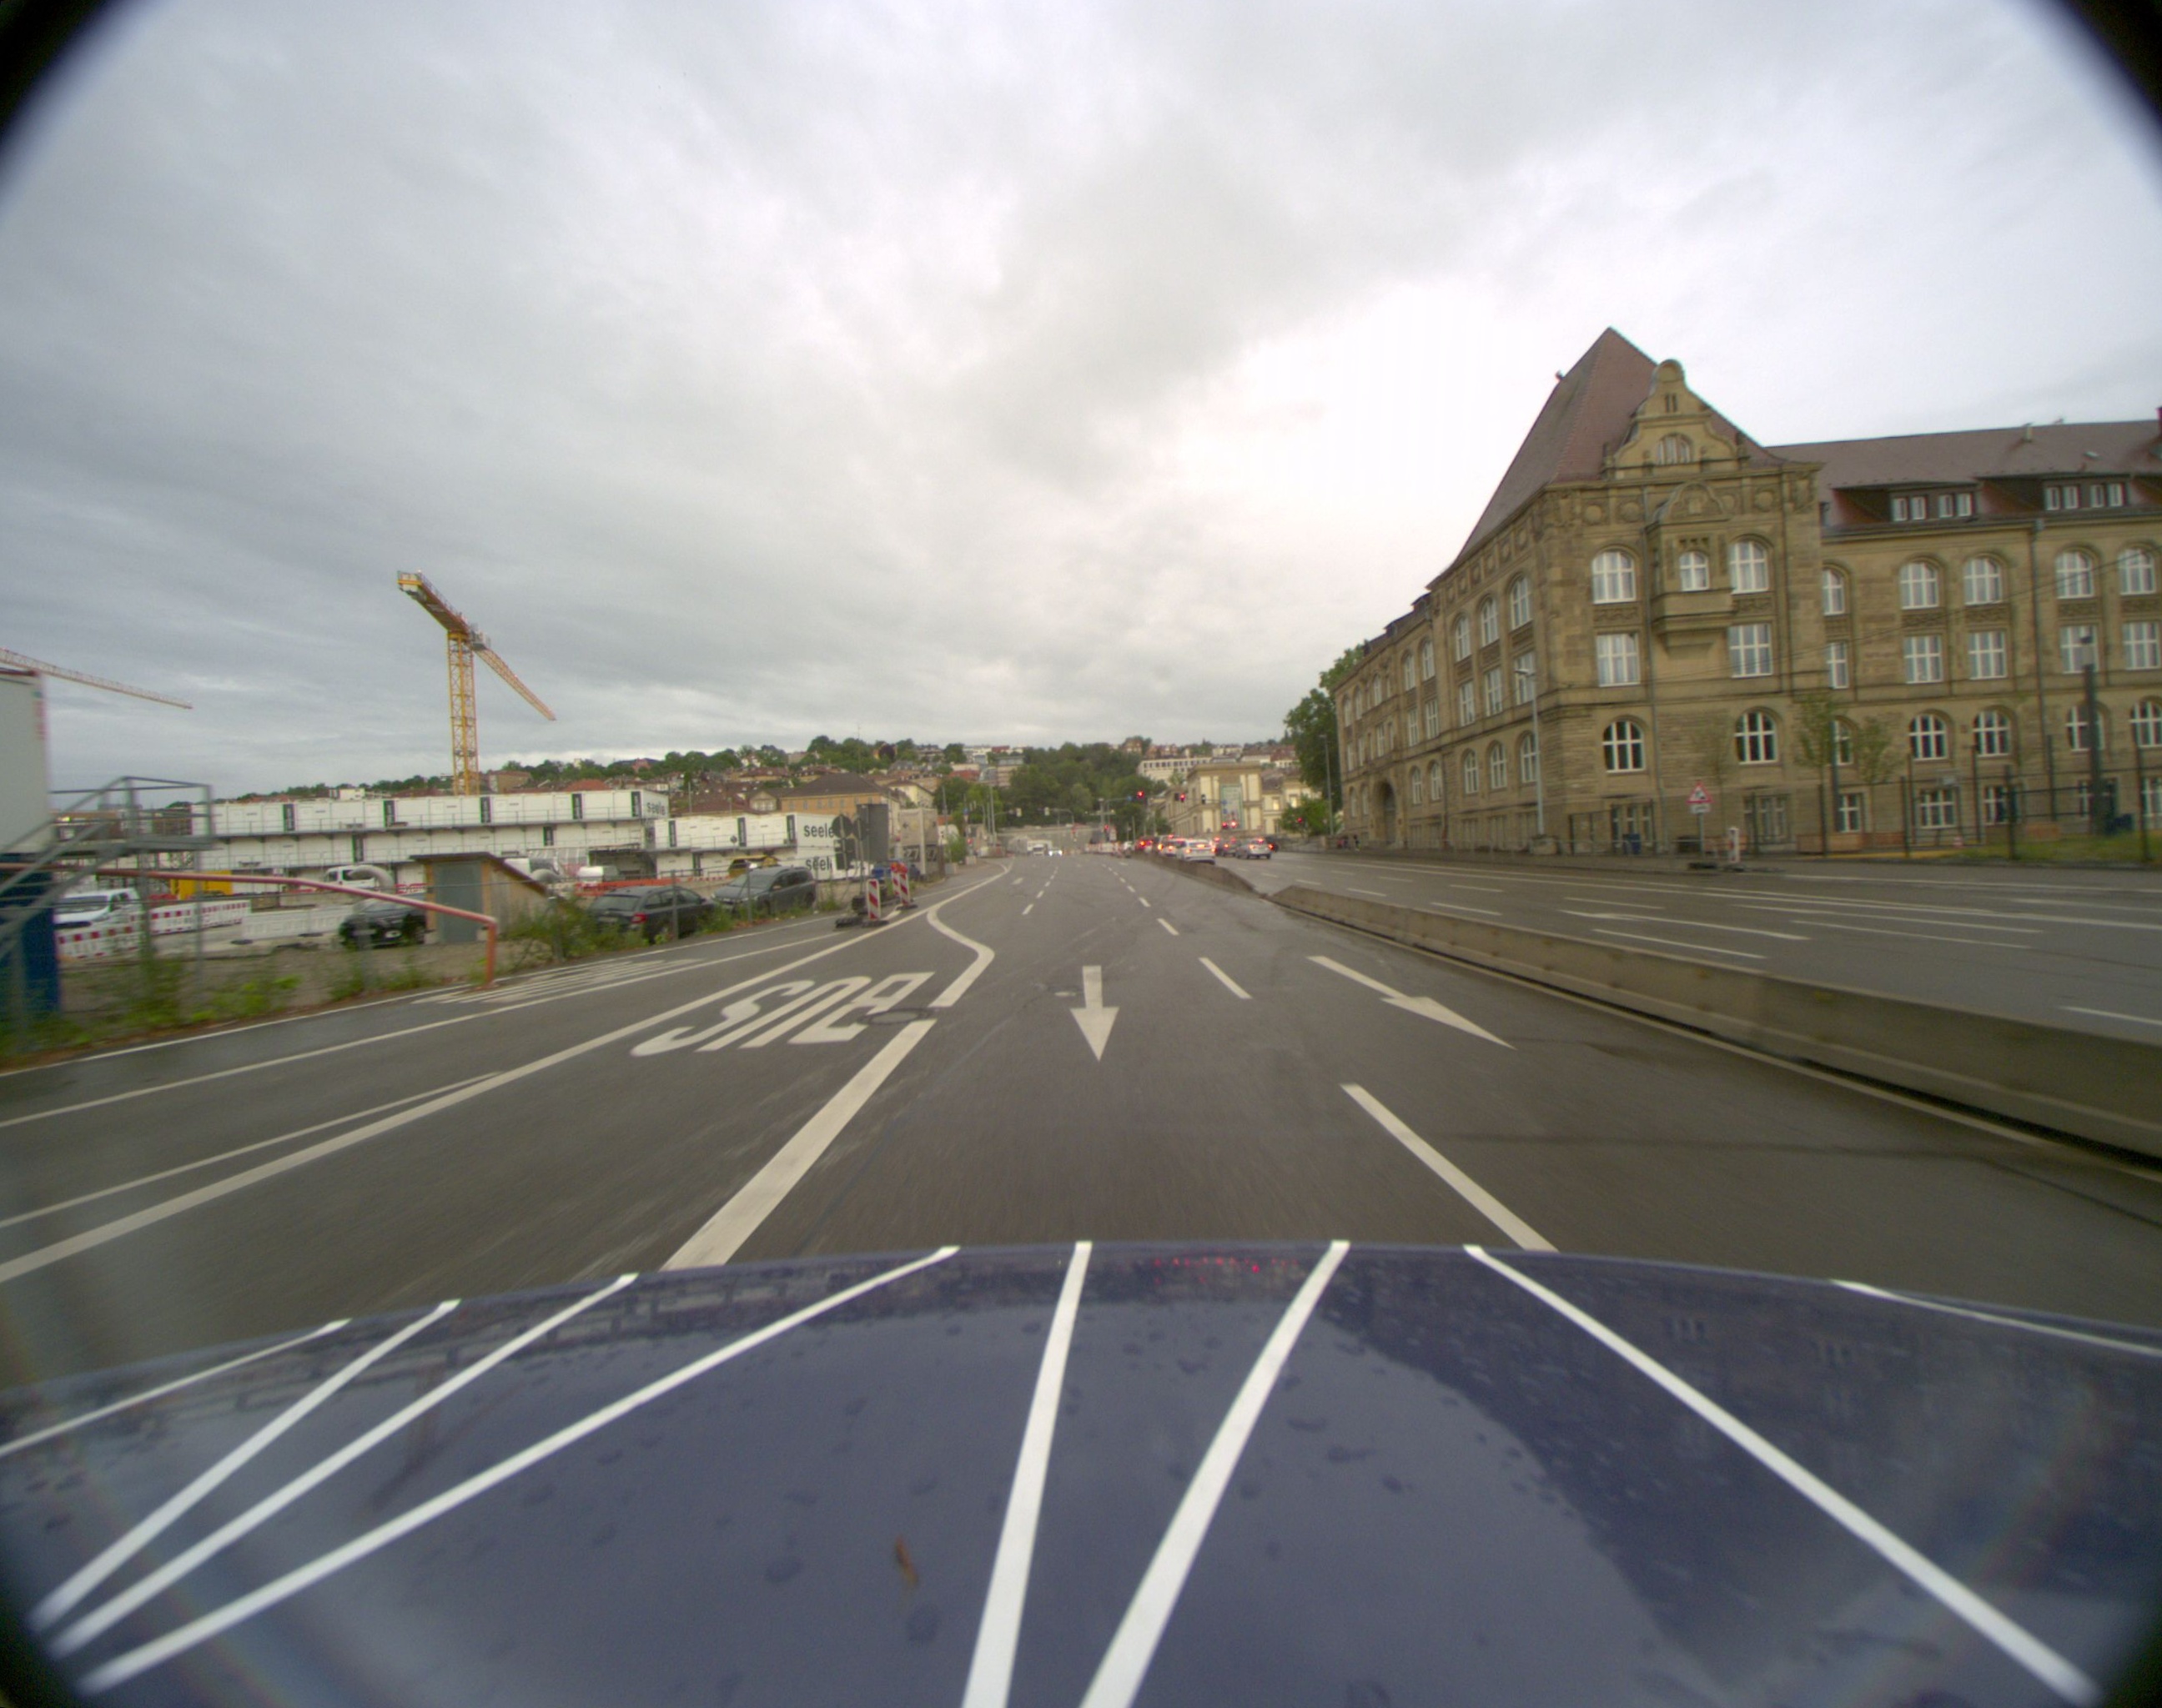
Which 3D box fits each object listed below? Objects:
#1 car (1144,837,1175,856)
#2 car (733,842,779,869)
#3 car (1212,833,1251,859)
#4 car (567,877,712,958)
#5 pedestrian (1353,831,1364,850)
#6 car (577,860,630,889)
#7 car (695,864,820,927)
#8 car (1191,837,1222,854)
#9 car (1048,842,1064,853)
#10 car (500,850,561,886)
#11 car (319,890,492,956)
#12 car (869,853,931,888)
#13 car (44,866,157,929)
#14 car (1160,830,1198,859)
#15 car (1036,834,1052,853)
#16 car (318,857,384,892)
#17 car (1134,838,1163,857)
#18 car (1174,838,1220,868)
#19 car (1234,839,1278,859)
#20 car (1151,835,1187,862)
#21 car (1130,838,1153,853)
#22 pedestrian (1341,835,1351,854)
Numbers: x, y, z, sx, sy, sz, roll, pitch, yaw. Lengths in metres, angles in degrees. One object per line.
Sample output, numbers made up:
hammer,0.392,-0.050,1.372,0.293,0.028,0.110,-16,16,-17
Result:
car,6.831,-0.676,66.445,1.999,1.493,4.818,-1,2,-3
car,-24.724,0.052,57.989,2.020,1.891,4.649,-1,2,-8
car,12.650,-0.715,64.224,2.000,2.003,3.995,-2,2,-8
car,-11.607,1.584,20.343,1.857,1.477,3.994,-1,5,-7
pedestrian,23.988,-1.183,65.786,0.618,1.576,0.734,-2,3,-7
car,-36.829,1.545,58.737,2.001,1.877,4.975,-1,2,-14
car,-10.861,1.320,25.920,1.925,1.640,4.414,2,3,7
car,11.718,-0.819,71.127,1.999,1.375,4.208,-1,2,-4
car,-3.724,-0.971,114.433,2.000,1.562,3.996,-1,2,-7
car,-42.148,1.022,58.342,2.001,2.428,4.975,-2,2,-14
car,-19.497,1.937,22.202,1.716,1.299,3.996,-4,3,-7
car,-9.388,0.815,39.677,1.837,1.433,4.412,-4,2,3
car,-42.130,1.773,32.806,1.959,2.266,5.247,-2,3,-41
car,6.727,-0.687,52.503,1.914,1.856,4.376,-1,2,-2
car,-8.170,-2.320,168.627,2.836,3.992,8.721,-1,2,1
car,-53.773,1.447,55.989,4.390,2.370,2.154,0,3,28
car,6.345,-0.631,72.174,1.999,1.559,5.378,-1,2,-3
car,6.887,-0.101,45.633,1.899,1.559,4.895,-1,2,-2
car,12.938,-0.399,56.427,1.999,1.375,4.208,-1,2,-5
car,6.771,-0.458,59.179,1.999,1.856,5.592,-1,2,-2
car,6.451,-0.913,81.607,1.999,1.463,4.558,-1,2,-1
pedestrian,23.046,-0.823,66.041,0.618,1.576,0.734,-1,3,0
